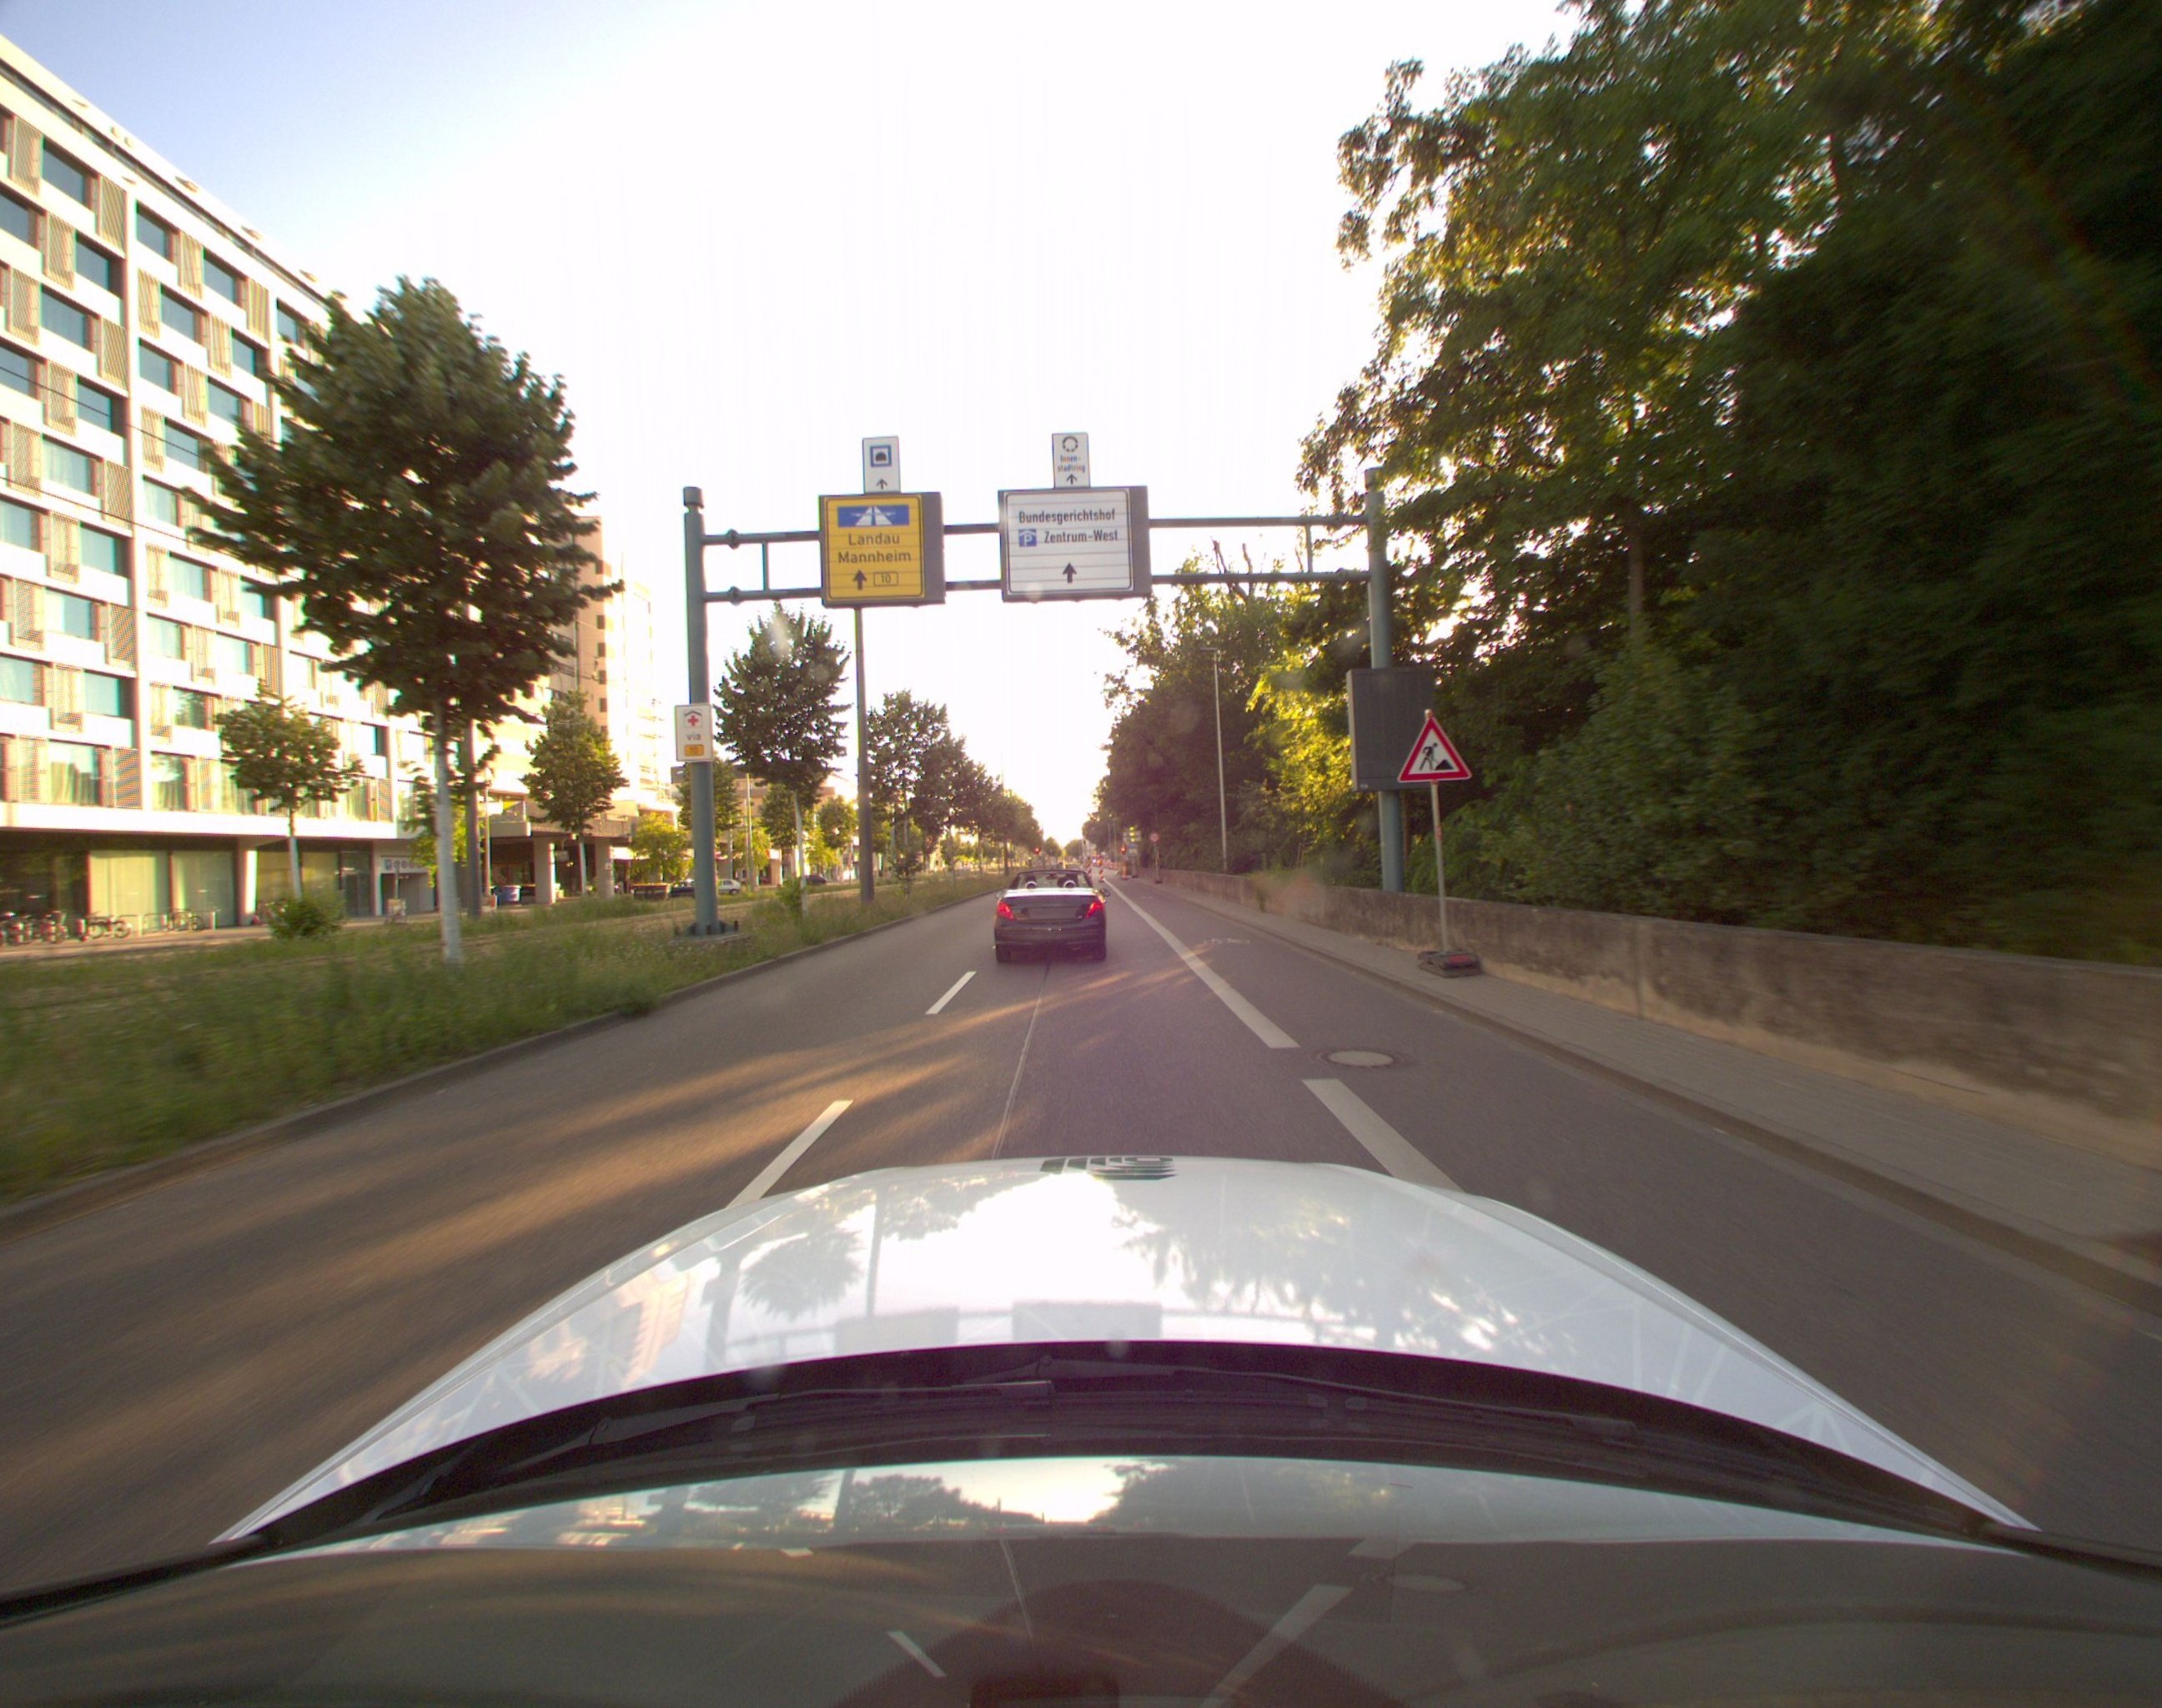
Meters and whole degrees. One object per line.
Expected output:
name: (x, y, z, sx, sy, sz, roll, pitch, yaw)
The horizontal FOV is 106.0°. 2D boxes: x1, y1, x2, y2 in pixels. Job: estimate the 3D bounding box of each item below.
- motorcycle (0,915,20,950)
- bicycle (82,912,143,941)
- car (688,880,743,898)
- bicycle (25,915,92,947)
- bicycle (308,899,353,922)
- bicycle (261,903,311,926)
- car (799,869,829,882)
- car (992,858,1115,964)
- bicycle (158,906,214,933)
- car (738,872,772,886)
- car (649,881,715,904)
motorcycle: (-38.168, 2.755, 28.123, 1.895, 1.171, 0.513, -2, -1, -16)
bicycle: (-37.915, 2.845, 31.903, 1.739, 1.020, 0.420, -2, -1, -4)
car: (-31.643, 2.983, 70.472, 4.145, 1.436, 1.807, 0, -1, -32)
bicycle: (-37.584, 2.824, 29.938, 1.784, 1.020, 0.420, -2, -1, -4)
bicycle: (-38.295, 2.881, 41.584, 1.784, 1.020, 0.420, -2, -1, -4)
bicycle: (-37.687, 2.867, 38.615, 1.784, 1.020, 0.420, -2, -1, -4)
car: (-42.218, 3.379, 128.618, 3.922, 1.845, 2.190, -3, -1, -2)
car: (-0.529, 0.836, 13.526, 1.715, 1.449, 3.895, -2, -1, -4)
bicycle: (-38.037, 2.773, 34.619, 1.784, 1.020, 0.420, -2, -1, -4)
car: (-50.865, 3.896, 127.102, 4.320, 1.769, 2.164, -5, 1, -4)
car: (-31.475, 3.040, 64.290, 4.308, 1.590, 1.985, -2, -1, -40)
